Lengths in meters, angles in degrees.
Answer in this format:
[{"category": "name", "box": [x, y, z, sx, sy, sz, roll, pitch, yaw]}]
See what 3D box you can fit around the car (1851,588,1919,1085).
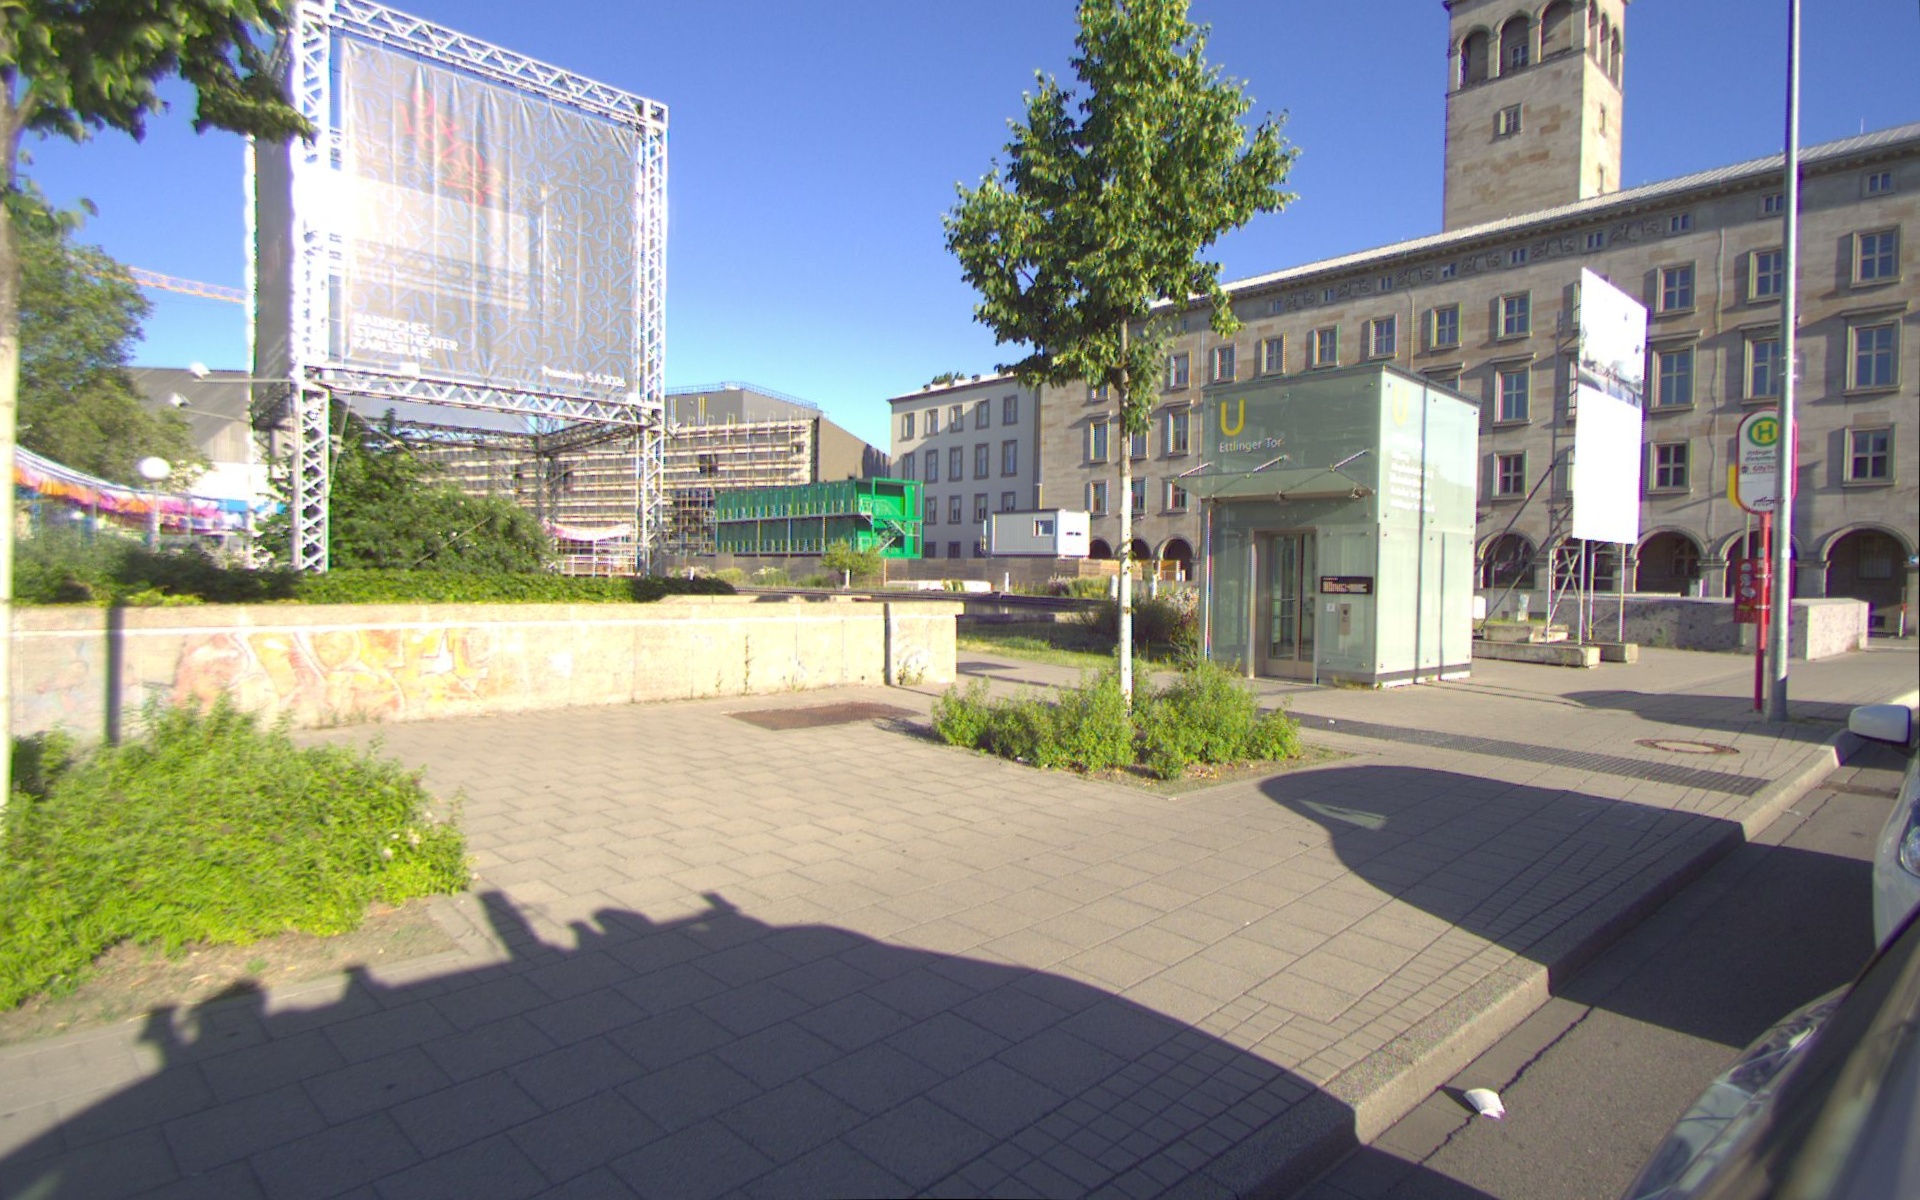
[{"category": "car", "box": [4.789, 0.700, 3.797, 3.899, 1.490, 1.658, 0, 0, -41]}]
